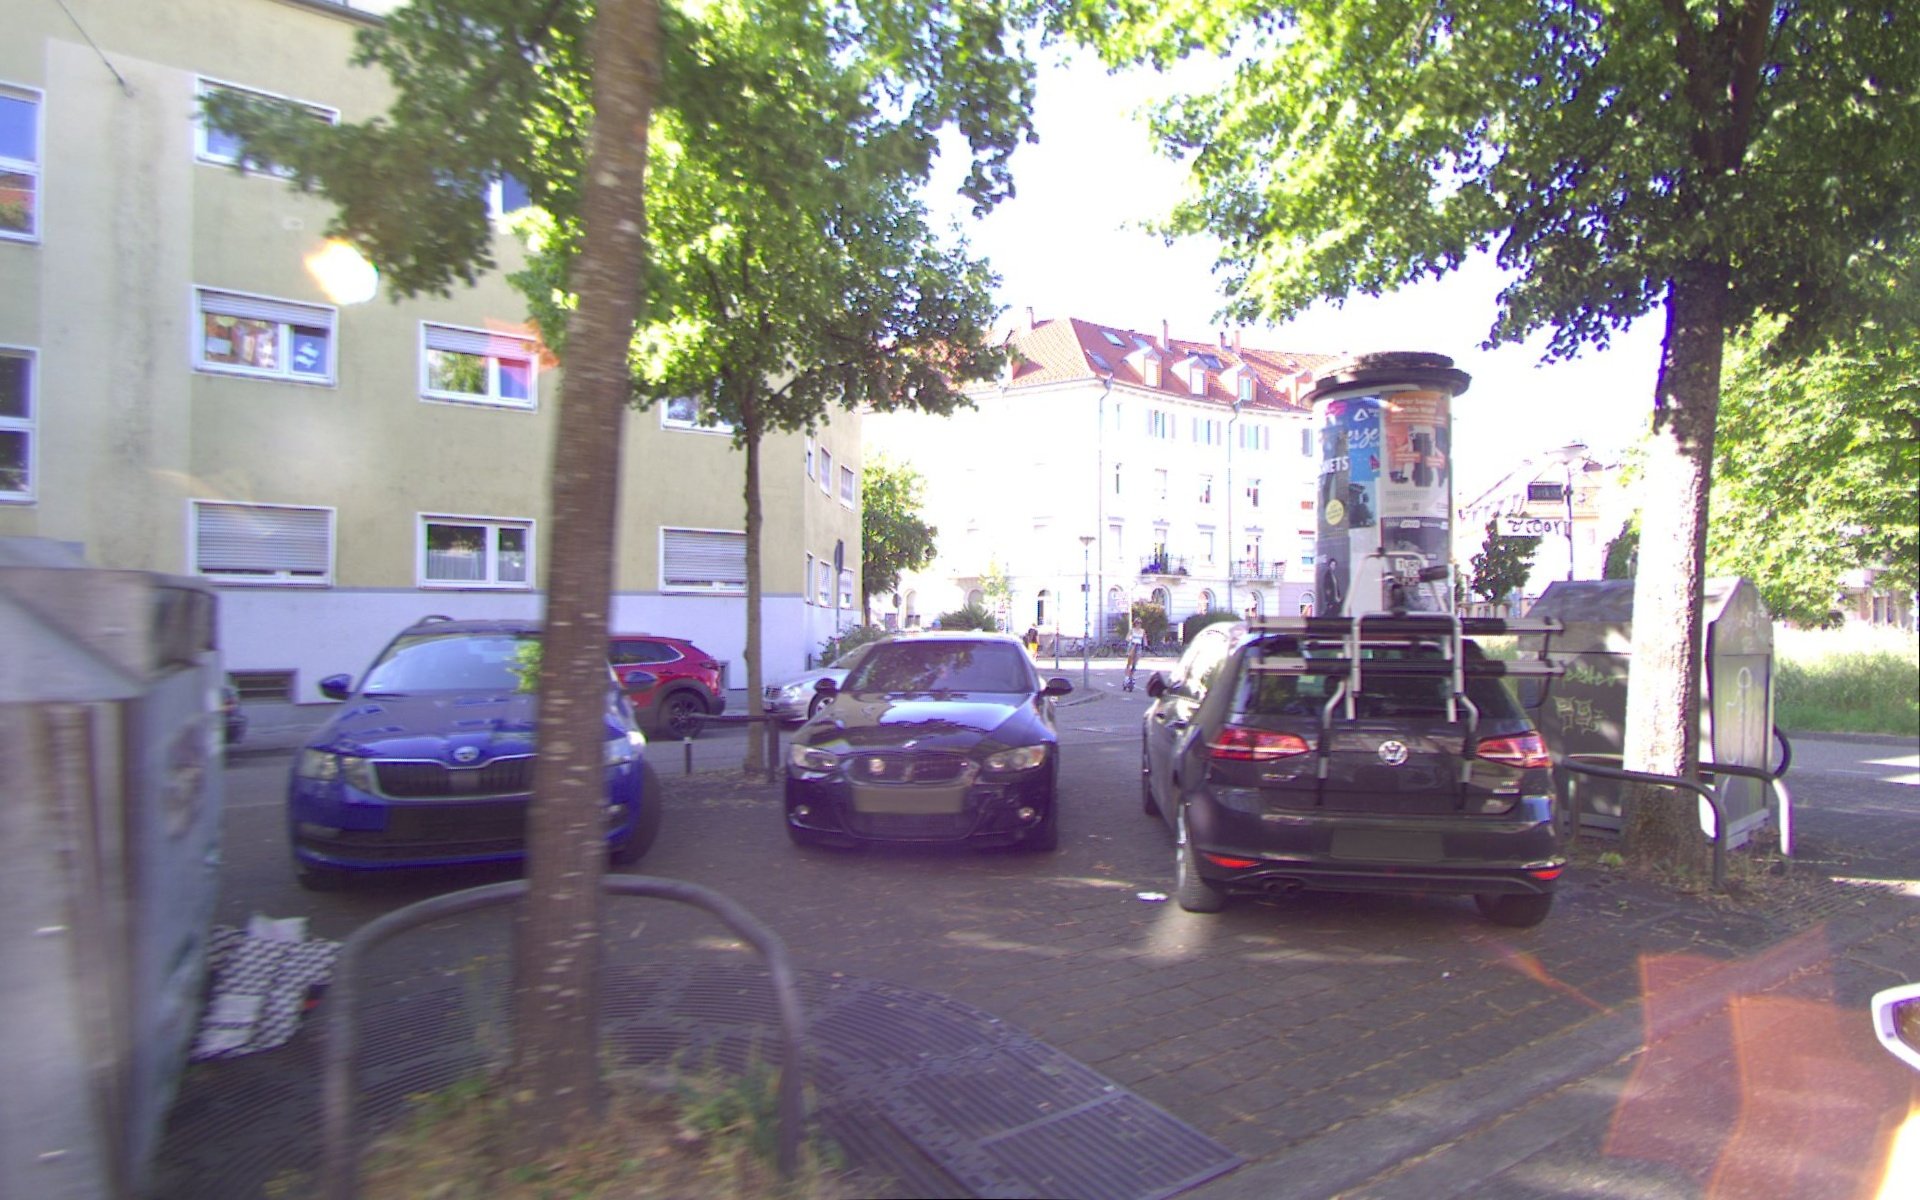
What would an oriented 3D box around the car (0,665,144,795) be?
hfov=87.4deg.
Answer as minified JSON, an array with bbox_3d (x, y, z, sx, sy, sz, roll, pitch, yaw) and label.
[{"bbox_3d":[-11.174,1.398,10.741,3.602,1.338,1.576,1,-4,-33],"label":"car"}]

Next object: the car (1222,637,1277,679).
[{"bbox_3d":[11.908,2.350,41.579,1.959,1.628,4.129,-1,-2,13],"label":"car"}]

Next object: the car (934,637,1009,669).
[{"bbox_3d":[0.572,2.560,48.618,3.339,1.485,1.488,-1,-2,23],"label":"car"}]

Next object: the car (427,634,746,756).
[{"bbox_3d":[-5.342,1.268,14.609,4.124,1.546,1.519,1,-2,-35],"label":"car"}]

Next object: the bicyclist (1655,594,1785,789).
[{"bbox_3d":[7.524,0.867,9.950,0.793,1.807,0.877,1,-2,-42],"label":"bicyclist"}]

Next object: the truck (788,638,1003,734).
[{"bbox_3d":[-1.053,1.382,17.035,3.380,1.454,1.520,1,-2,-35],"label":"truck"}]

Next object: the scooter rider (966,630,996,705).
[{"bbox_3d":[0.441,1.419,21.198,0.595,1.549,0.526,0,-1,5],"label":"scooter rider"}]

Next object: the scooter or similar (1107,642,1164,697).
[{"bbox_3d":[4.462,1.743,25.719,0.555,1.328,2.116,0,-2,-17],"label":"scooter or similar"}]

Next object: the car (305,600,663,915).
[{"bbox_3d":[-3.039,0.805,6.818,1.621,1.485,3.781,1,-2,-22],"label":"car"}]

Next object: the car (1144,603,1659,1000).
[{"bbox_3d":[2.115,0.836,6.071,1.740,1.501,4.145,1,-1,8],"label":"car"}]

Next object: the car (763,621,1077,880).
[{"bbox_3d":[-0.071,0.890,7.584,1.751,1.421,4.002,0,-2,5],"label":"car"}]

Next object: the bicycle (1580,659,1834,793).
[{"bbox_3d":[7.414,1.197,10.056,0.660,1.159,1.941,1,-2,-41],"label":"bicycle"}]

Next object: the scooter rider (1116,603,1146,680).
[{"bbox_3d":[4.423,1.064,25.926,0.548,1.959,0.616,0,-1,-15],"label":"scooter rider"}]
